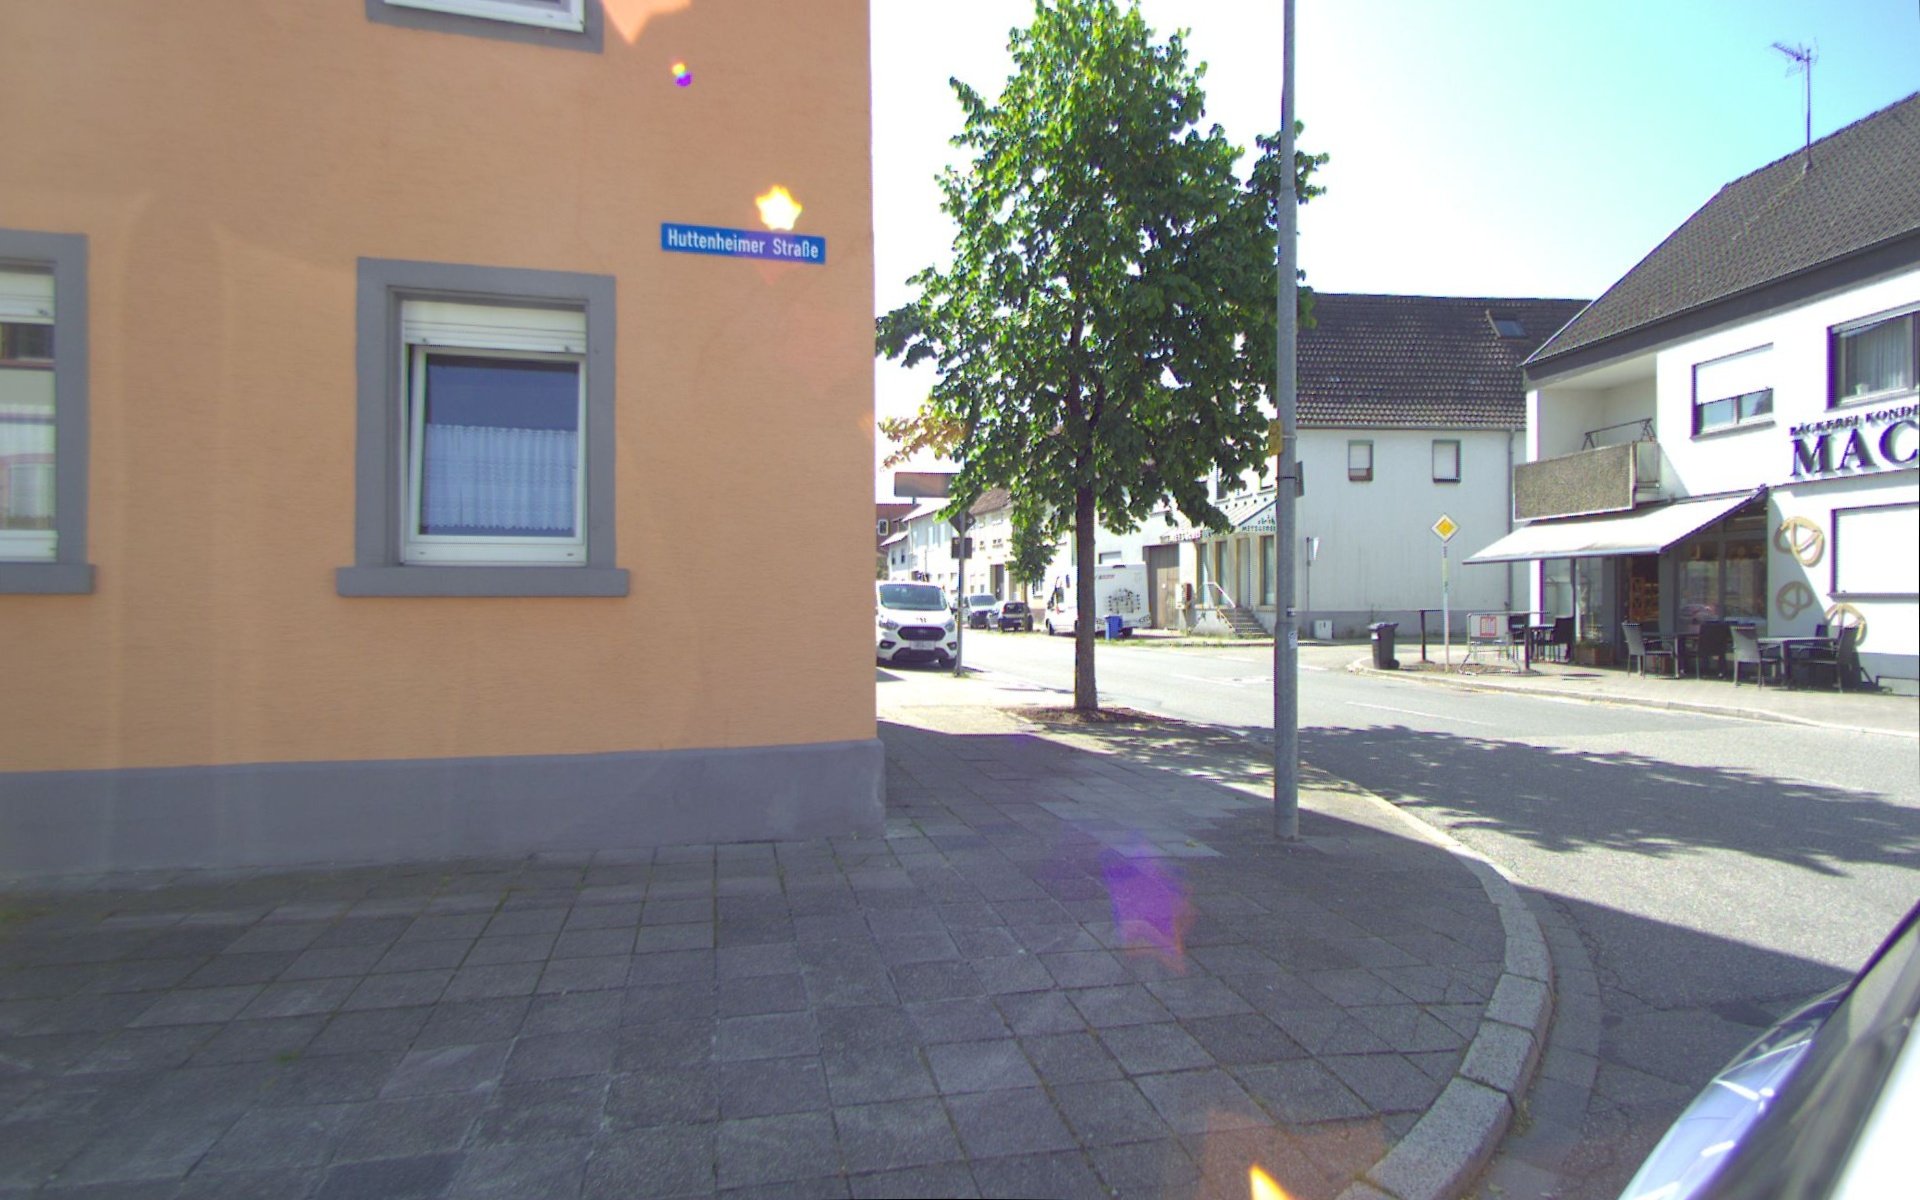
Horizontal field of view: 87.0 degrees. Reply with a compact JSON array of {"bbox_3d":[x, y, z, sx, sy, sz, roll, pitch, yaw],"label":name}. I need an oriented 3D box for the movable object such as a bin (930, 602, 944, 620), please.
[{"bbox_3d":[-1.419,0.694,62.624,0.704,1.080,0.551,-1,0,-16],"label":"movable object such as a bin"}]

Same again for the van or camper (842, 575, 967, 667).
[{"bbox_3d":[-1.493,0.433,24.491,1.958,1.978,5.357,0,0,-15],"label":"van or camper"}]

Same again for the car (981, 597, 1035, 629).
[{"bbox_3d":[2.310,0.597,49.698,1.655,1.501,3.625,-1,0,-14],"label":"car"}]

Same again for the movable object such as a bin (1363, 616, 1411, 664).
[{"bbox_3d":[8.637,0.799,20.479,0.631,0.936,0.615,-1,0,-15],"label":"movable object such as a bin"}]

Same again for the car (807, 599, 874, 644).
[{"bbox_3d":[-4.150,0.693,34.664,1.697,1.445,3.994,0,0,-15],"label":"car"}]

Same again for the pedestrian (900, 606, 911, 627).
[{"bbox_3d":[-4.158,1.251,77.344,0.737,1.551,0.582,-1,0,-15],"label":"pedestrian"}]

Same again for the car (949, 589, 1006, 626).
[{"bbox_3d":[0.868,0.391,54.942,1.958,1.871,4.966,-1,0,-12],"label":"car"}]

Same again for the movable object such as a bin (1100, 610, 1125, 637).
[{"bbox_3d":[5.243,0.811,34.818,0.631,0.883,0.615,-1,0,-15],"label":"movable object such as a bin"}]

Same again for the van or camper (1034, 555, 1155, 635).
[{"bbox_3d":[5.248,-0.212,40.925,2.402,2.941,7.081,-1,0,-14],"label":"van or camper"}]
